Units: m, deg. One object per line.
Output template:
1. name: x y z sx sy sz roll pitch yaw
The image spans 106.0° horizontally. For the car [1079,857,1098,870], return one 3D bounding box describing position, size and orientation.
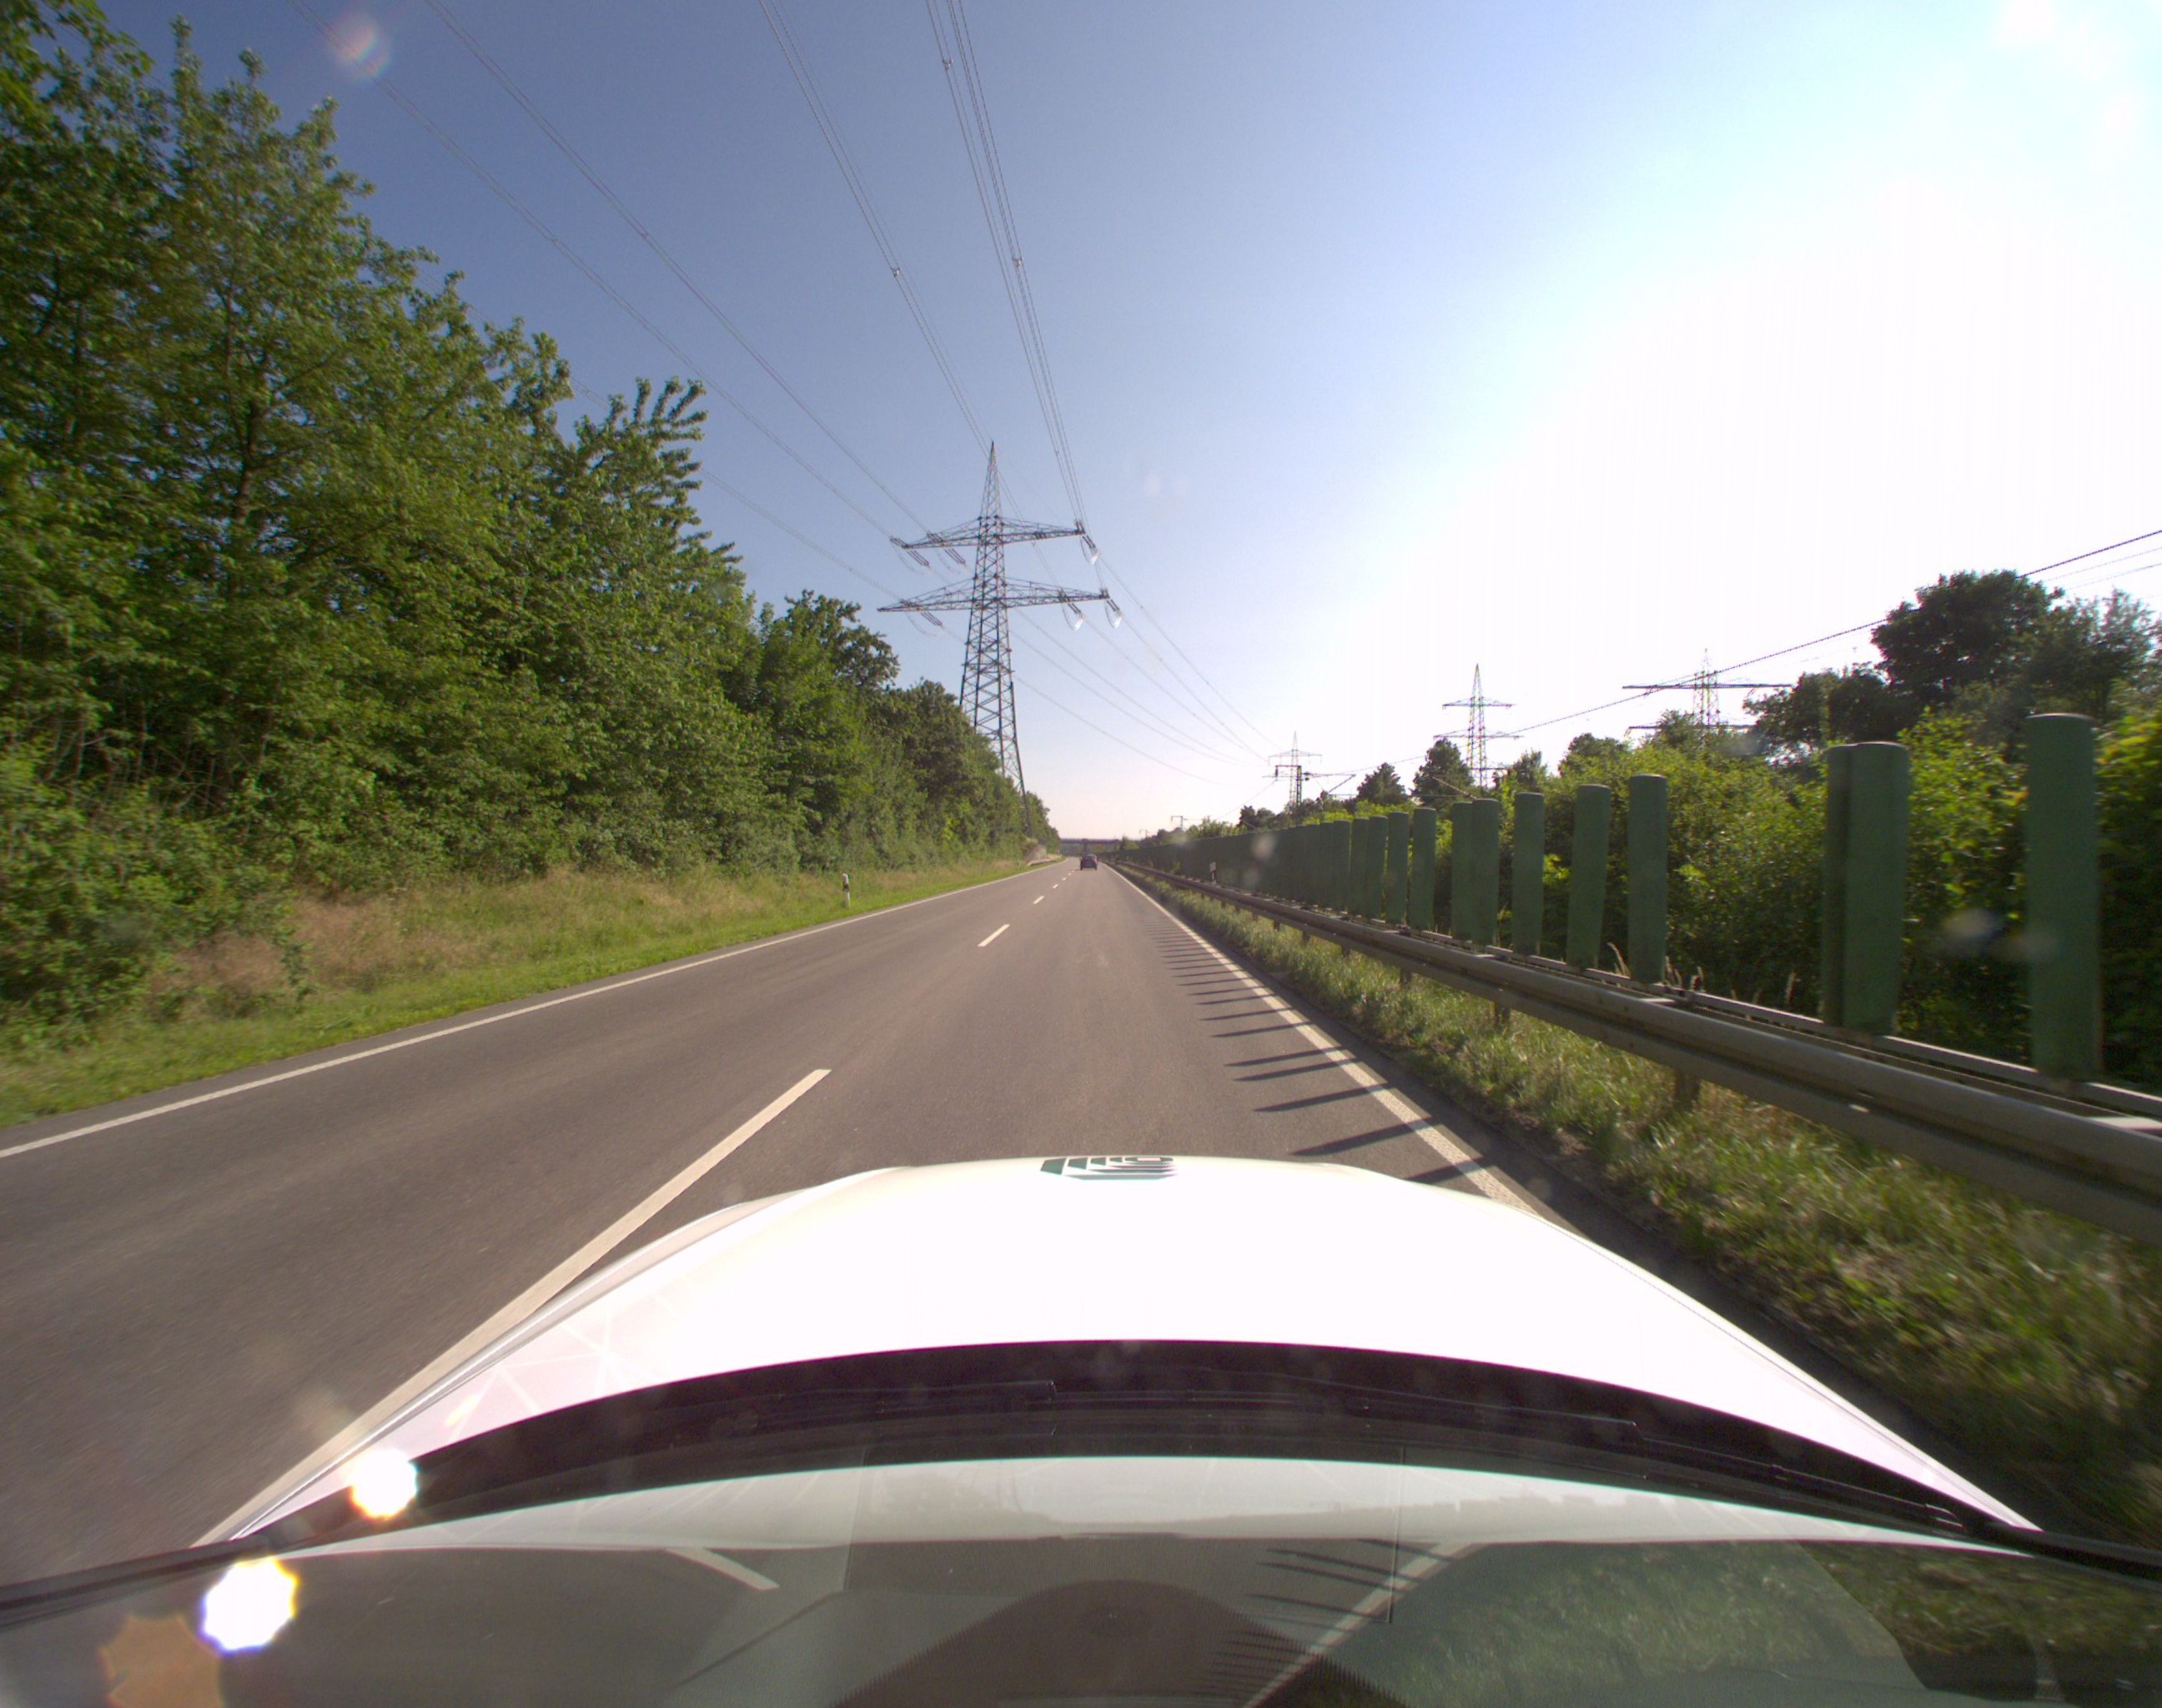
1. car: 0.720 0.946 80.218 1.659 1.261 3.997 0 0 -2
